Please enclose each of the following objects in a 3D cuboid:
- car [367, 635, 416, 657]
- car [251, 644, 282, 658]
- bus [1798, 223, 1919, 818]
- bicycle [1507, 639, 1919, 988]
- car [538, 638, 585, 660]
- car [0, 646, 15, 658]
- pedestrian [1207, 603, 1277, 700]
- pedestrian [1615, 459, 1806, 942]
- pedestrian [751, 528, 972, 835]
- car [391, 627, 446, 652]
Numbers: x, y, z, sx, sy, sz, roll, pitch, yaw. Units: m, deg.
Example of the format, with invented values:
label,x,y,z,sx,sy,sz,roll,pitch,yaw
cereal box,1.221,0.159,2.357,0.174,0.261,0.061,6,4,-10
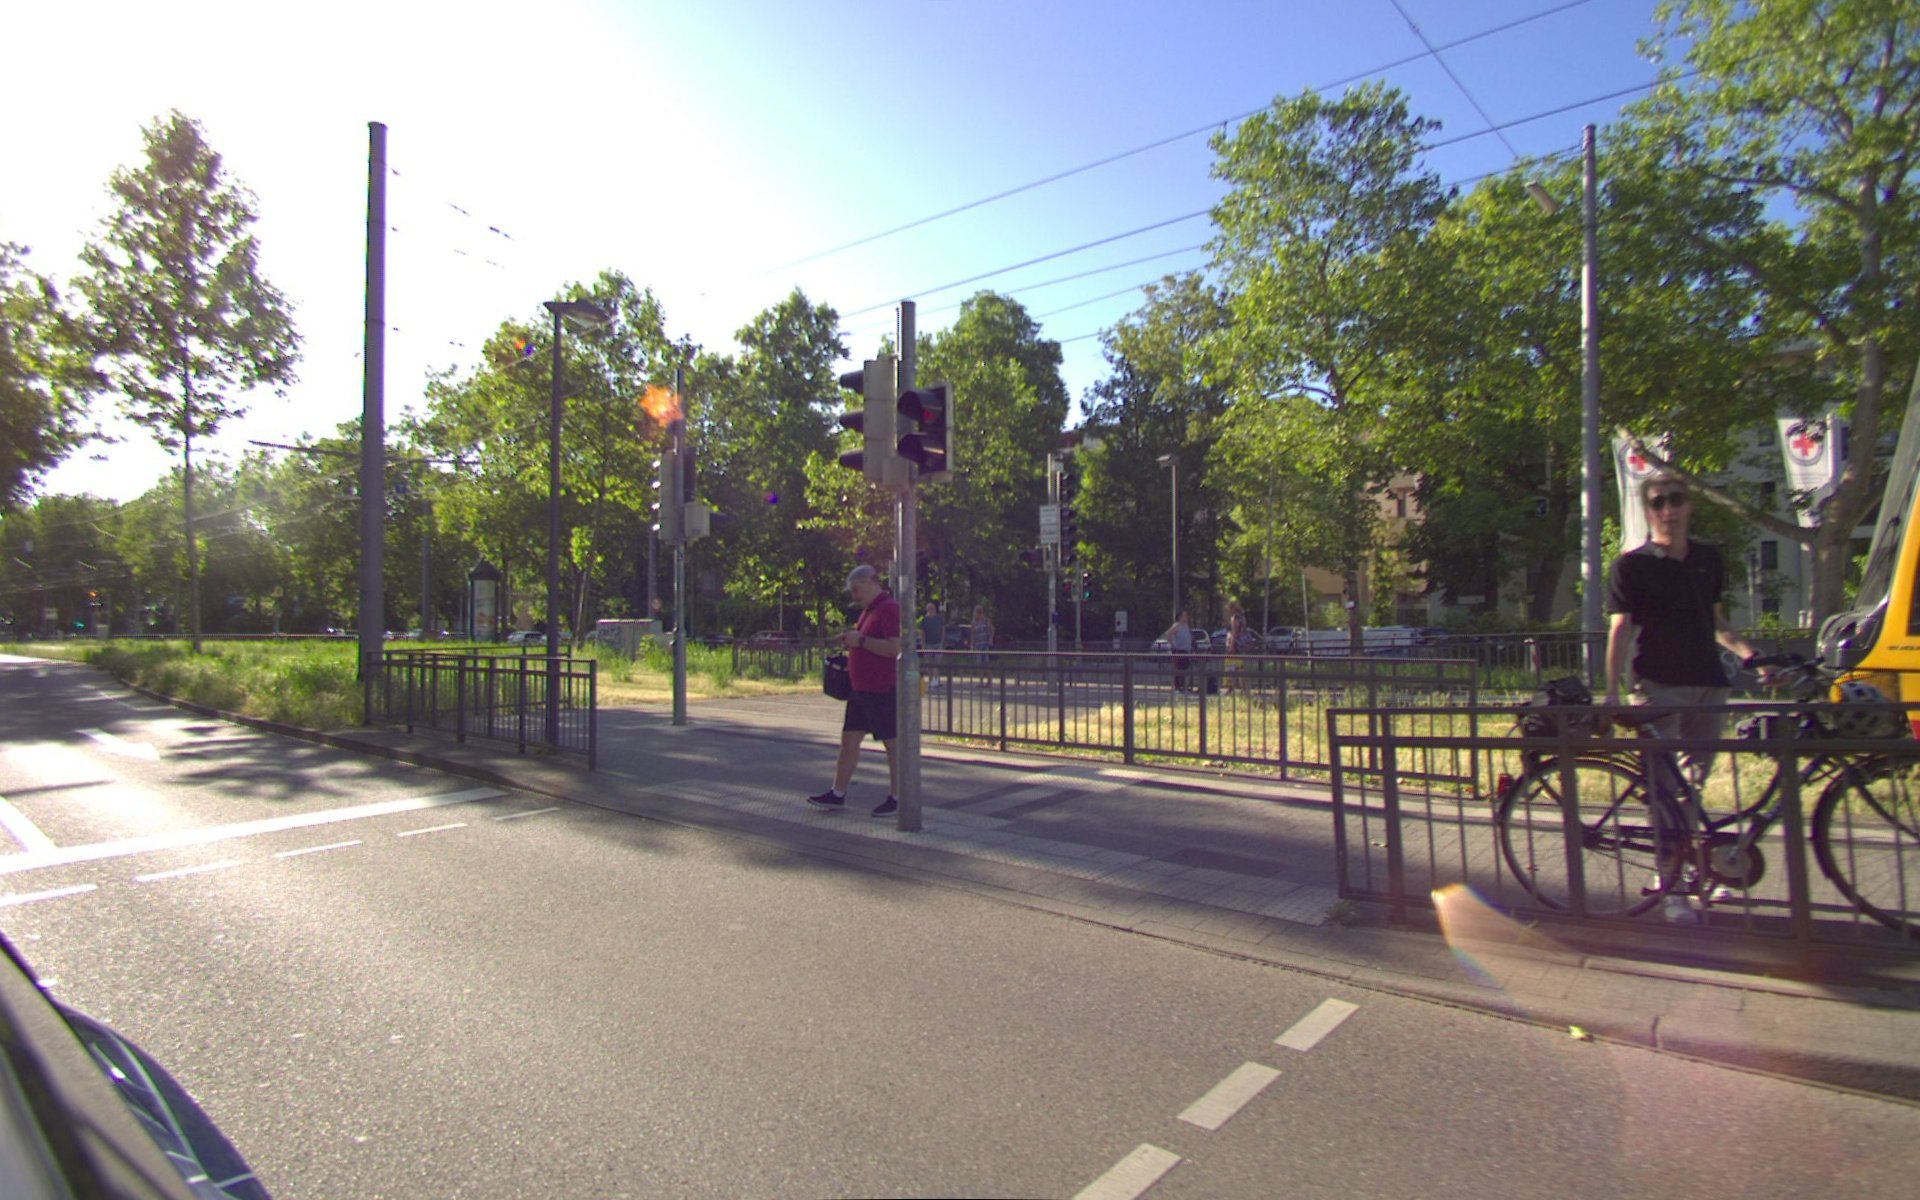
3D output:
label,x,y,z,sx,sy,sz,roll,pitch,yaw
car,-44.179,3.578,78.579,3.995,1.634,1.974,-2,-1,39
car,-66.139,4.853,96.551,3.761,1.231,1.603,-2,-2,42
bus,11.078,-0.619,2.903,13.211,3.470,2.839,-2,-2,42
bicycle,3.180,0.766,3.914,1.825,1.223,0.325,-2,-2,36
car,-23.605,2.882,59.914,2.843,1.209,1.386,-2,-2,40
car,-130.073,7.026,137.560,3.870,1.541,1.827,-2,-1,39
pedestrian,5.050,0.900,18.113,0.890,1.656,1.167,-1,-2,34
pedestrian,3.212,0.404,4.377,0.583,1.917,0.447,-2,-2,34
pedestrian,-0.691,0.534,7.146,1.126,1.931,1.061,-2,-2,39
car,-40.162,2.957,75.054,4.508,1.696,1.974,-2,-1,39
